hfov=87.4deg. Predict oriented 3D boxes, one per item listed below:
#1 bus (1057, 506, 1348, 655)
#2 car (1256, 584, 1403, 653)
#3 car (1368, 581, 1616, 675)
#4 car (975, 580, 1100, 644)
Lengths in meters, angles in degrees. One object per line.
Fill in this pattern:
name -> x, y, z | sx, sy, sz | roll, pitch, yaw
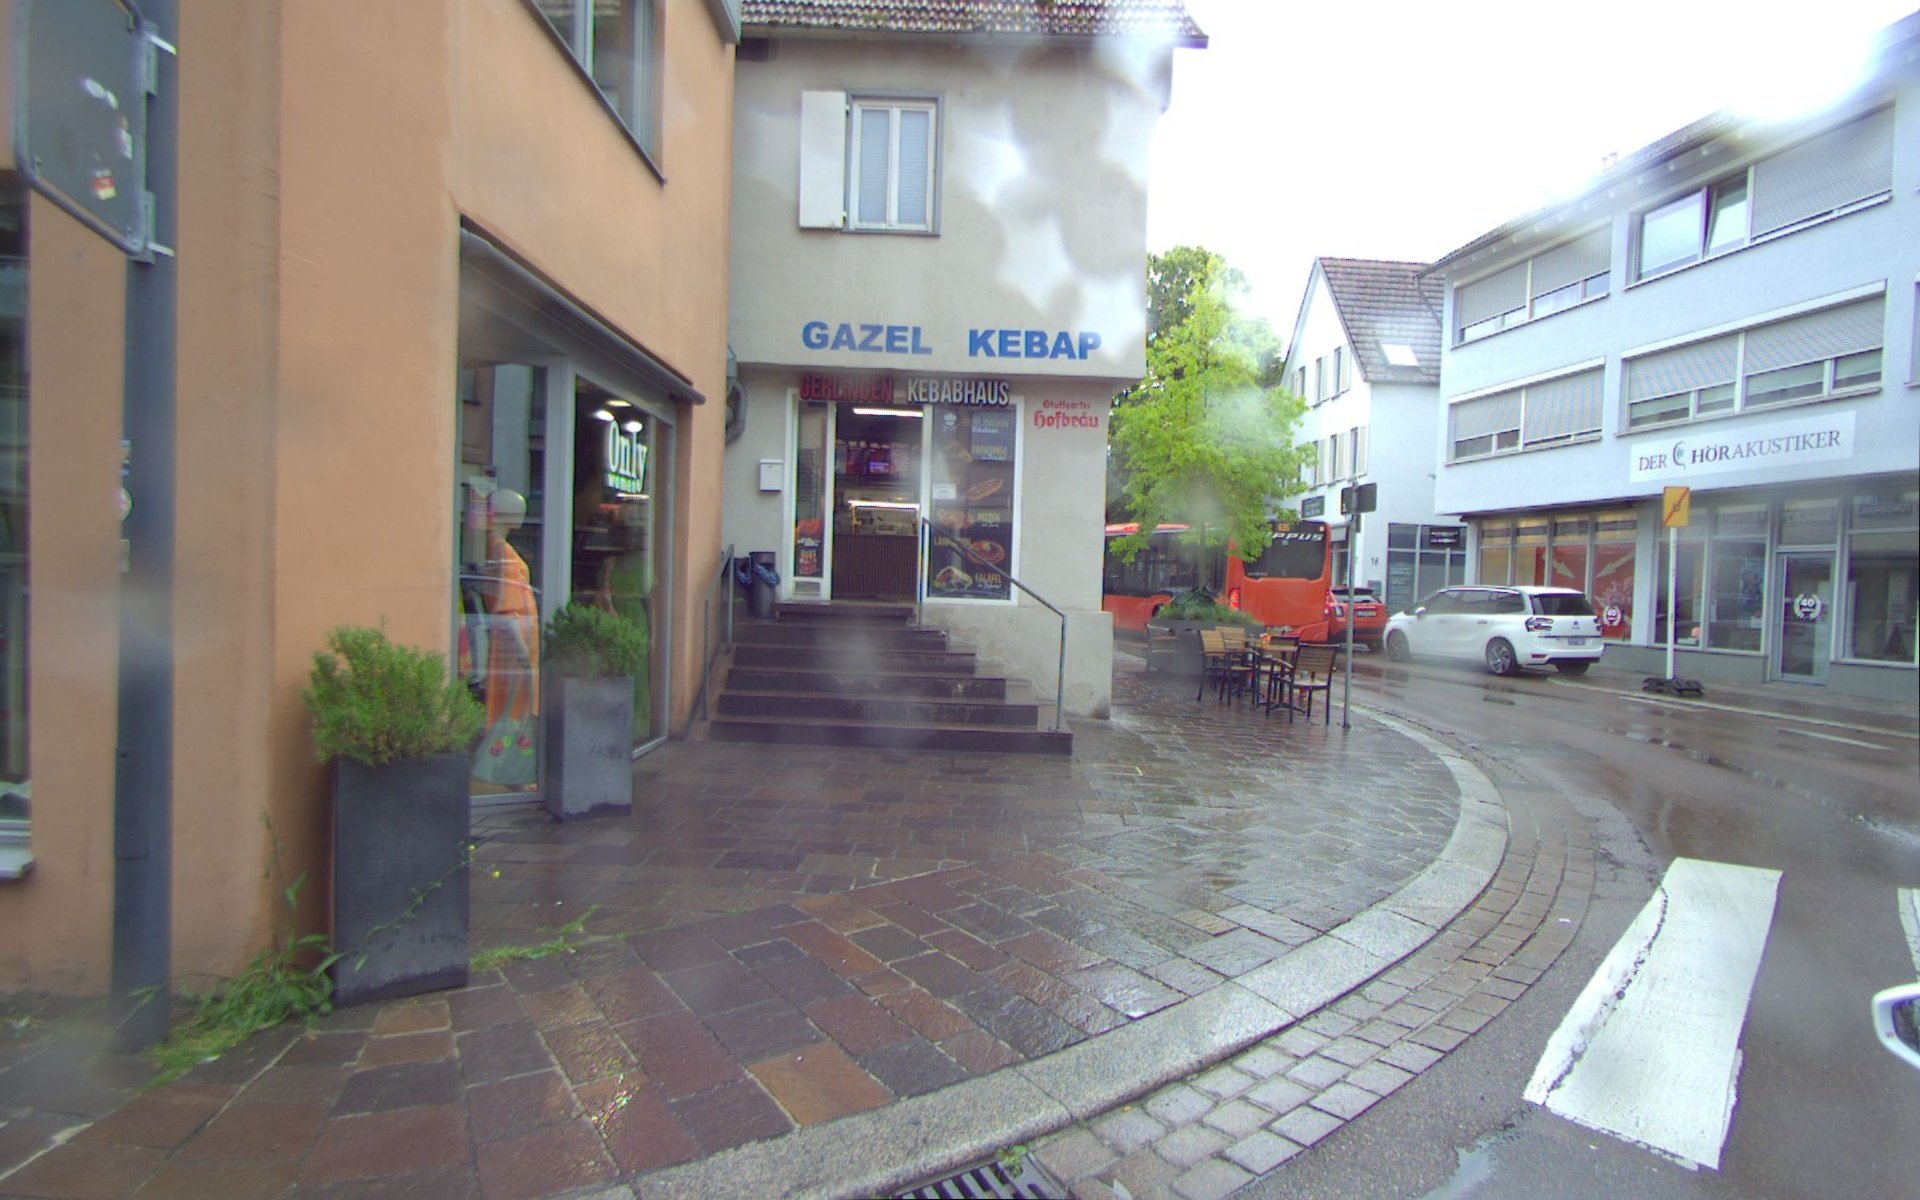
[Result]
bus -> 5.741, -0.594, 26.638 | 2.775, 3.130, 10.572 | 0, 2, -15
car -> 9.140, 0.413, 25.186 | 1.653, 1.549, 3.789 | 0, 2, -12
car -> 10.321, 0.471, 19.931 | 1.752, 1.653, 4.454 | 1, 1, -16
car -> 1.996, 0.283, 27.072 | 1.702, 1.433, 3.959 | 3, 1, -22
